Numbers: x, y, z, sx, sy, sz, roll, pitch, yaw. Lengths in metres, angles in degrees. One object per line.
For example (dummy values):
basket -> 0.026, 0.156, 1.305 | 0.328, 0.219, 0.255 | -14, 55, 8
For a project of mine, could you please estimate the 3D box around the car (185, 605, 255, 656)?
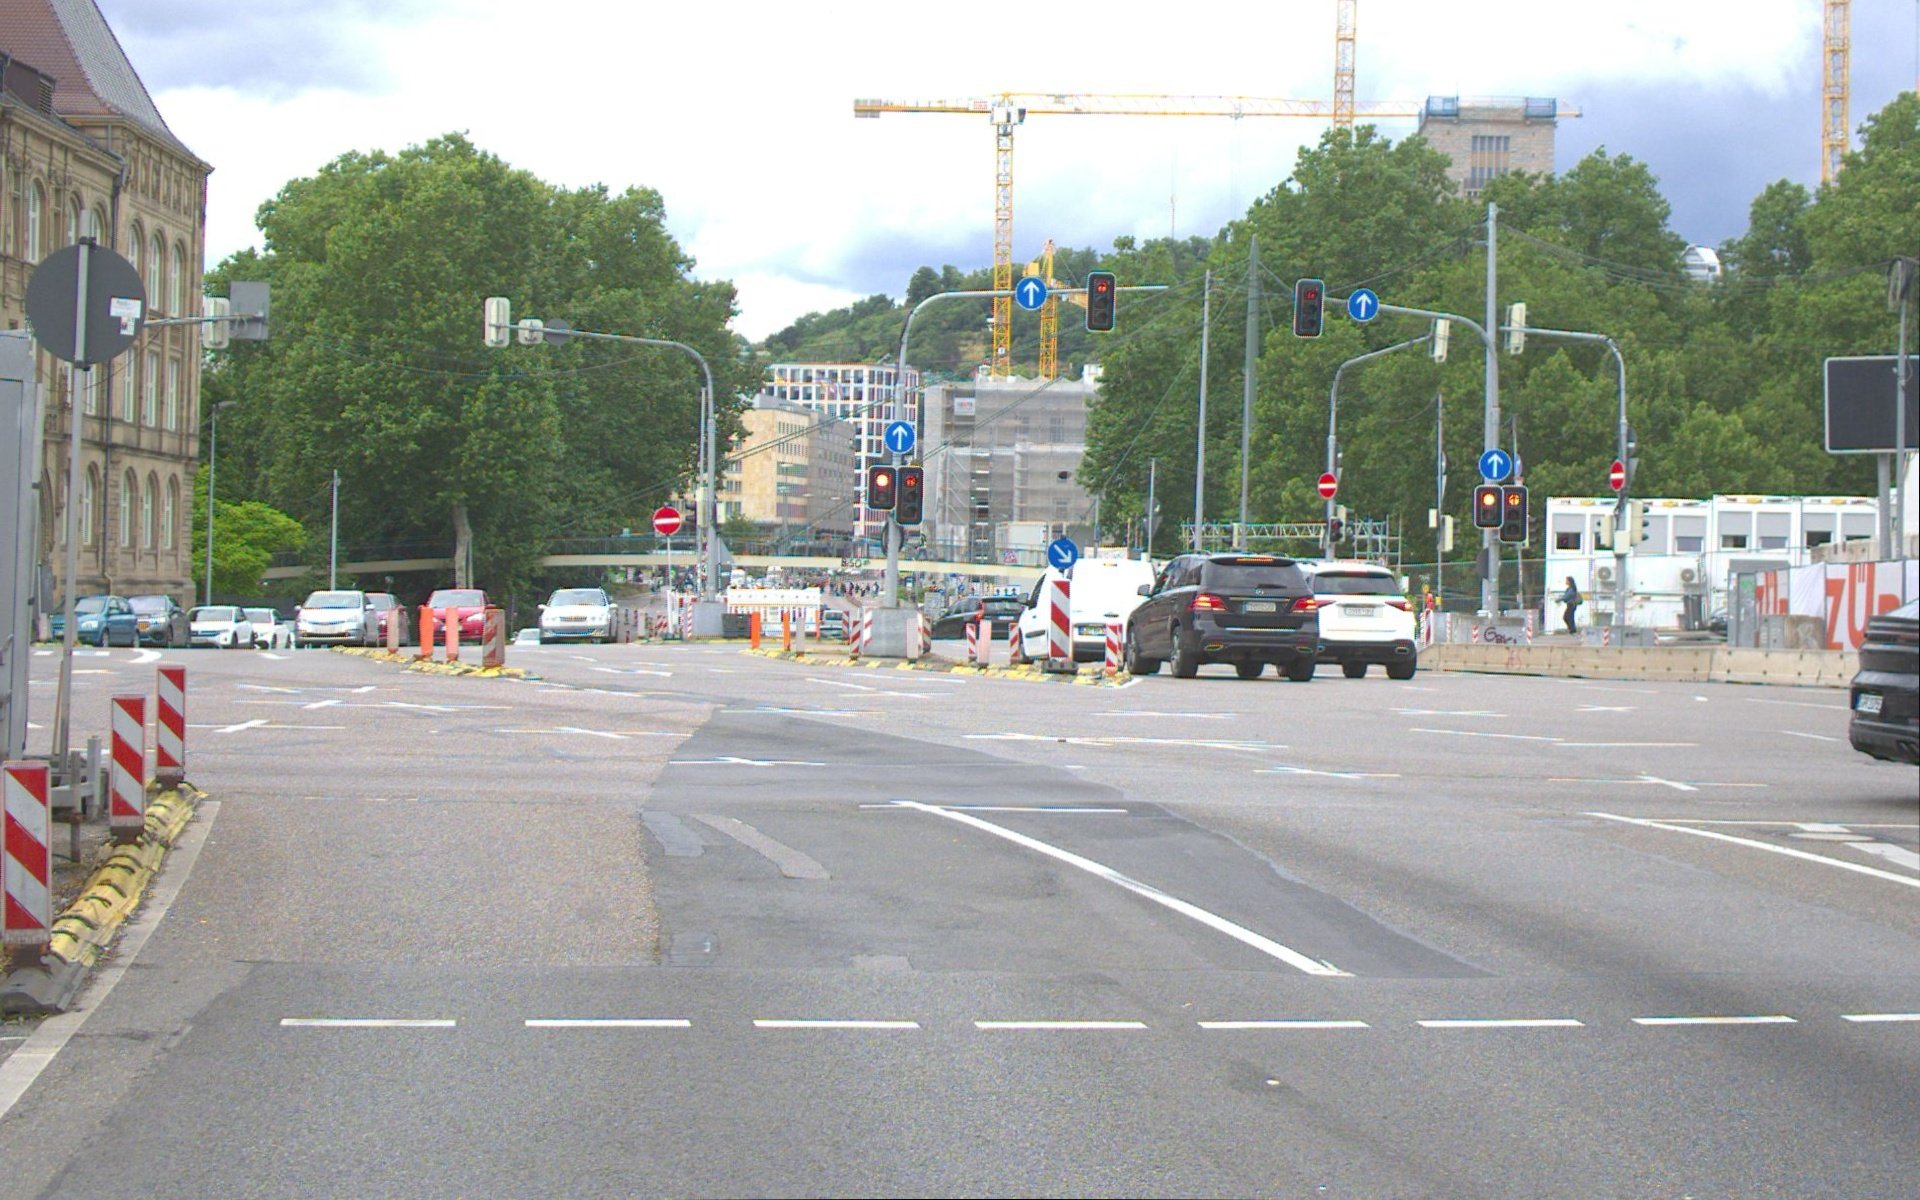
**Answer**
car -> -21.815, 0.886, 101.418 | 1.675, 1.393, 3.684 | 1, 1, -7

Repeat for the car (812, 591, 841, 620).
car -> -9.625, 0.371, 247.918 | 1.993, 2.007, 4.001 | 1, 1, -3

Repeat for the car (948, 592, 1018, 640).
car -> 0.696, 0.470, 105.496 | 1.675, 1.393, 3.684 | 1, 1, -7

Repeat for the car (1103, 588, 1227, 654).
car -> 4.508, 0.452, 75.994 | 1.675, 1.393, 3.087 | 1, 1, -19

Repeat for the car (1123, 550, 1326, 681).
car -> 3.666, 0.188, 48.486 | 1.831, 1.740, 4.257 | 1, 1, -10

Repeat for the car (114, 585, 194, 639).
car -> -21.769, 0.303, 92.922 | 1.675, 1.393, 3.684 | 1, 1, -7

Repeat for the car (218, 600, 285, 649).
car -> -22.249, 0.784, 108.076 | 1.675, 1.393, 3.683 | 0, -2, -6

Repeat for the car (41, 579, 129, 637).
car -> -21.989, 0.192, 86.492 | 1.675, 1.393, 3.684 | 1, 1, -7

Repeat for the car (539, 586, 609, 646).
car -> -9.552, 0.379, 85.016 | 1.675, 1.393, 3.684 | 1, 1, -7

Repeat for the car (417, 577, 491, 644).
car -> -12.445, 0.251, 84.724 | 1.675, 1.575, 3.684 | 1, 1, -7

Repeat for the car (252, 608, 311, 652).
car -> -22.992, 1.020, 116.579 | 1.675, 1.393, 3.684 | 1, 1, -7

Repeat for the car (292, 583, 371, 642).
car -> -15.640, 0.289, 85.633 | 1.675, 1.393, 3.684 | 1, 1, -7

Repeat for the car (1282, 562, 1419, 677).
car -> 5.992, 0.270, 53.053 | 1.676, 1.696, 3.374 | 1, 1, -1

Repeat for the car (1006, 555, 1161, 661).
car -> 1.957, 0.103, 55.532 | 1.816, 1.619, 4.001 | 1, 1, -8

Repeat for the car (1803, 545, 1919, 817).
car -> 7.911, 0.505, 21.428 | 4.808, 1.619, 2.020 | 1, 0, 1

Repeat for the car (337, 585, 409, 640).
car -> -15.660, 0.327, 91.795 | 1.675, 1.393, 3.684 | 1, 1, -7
